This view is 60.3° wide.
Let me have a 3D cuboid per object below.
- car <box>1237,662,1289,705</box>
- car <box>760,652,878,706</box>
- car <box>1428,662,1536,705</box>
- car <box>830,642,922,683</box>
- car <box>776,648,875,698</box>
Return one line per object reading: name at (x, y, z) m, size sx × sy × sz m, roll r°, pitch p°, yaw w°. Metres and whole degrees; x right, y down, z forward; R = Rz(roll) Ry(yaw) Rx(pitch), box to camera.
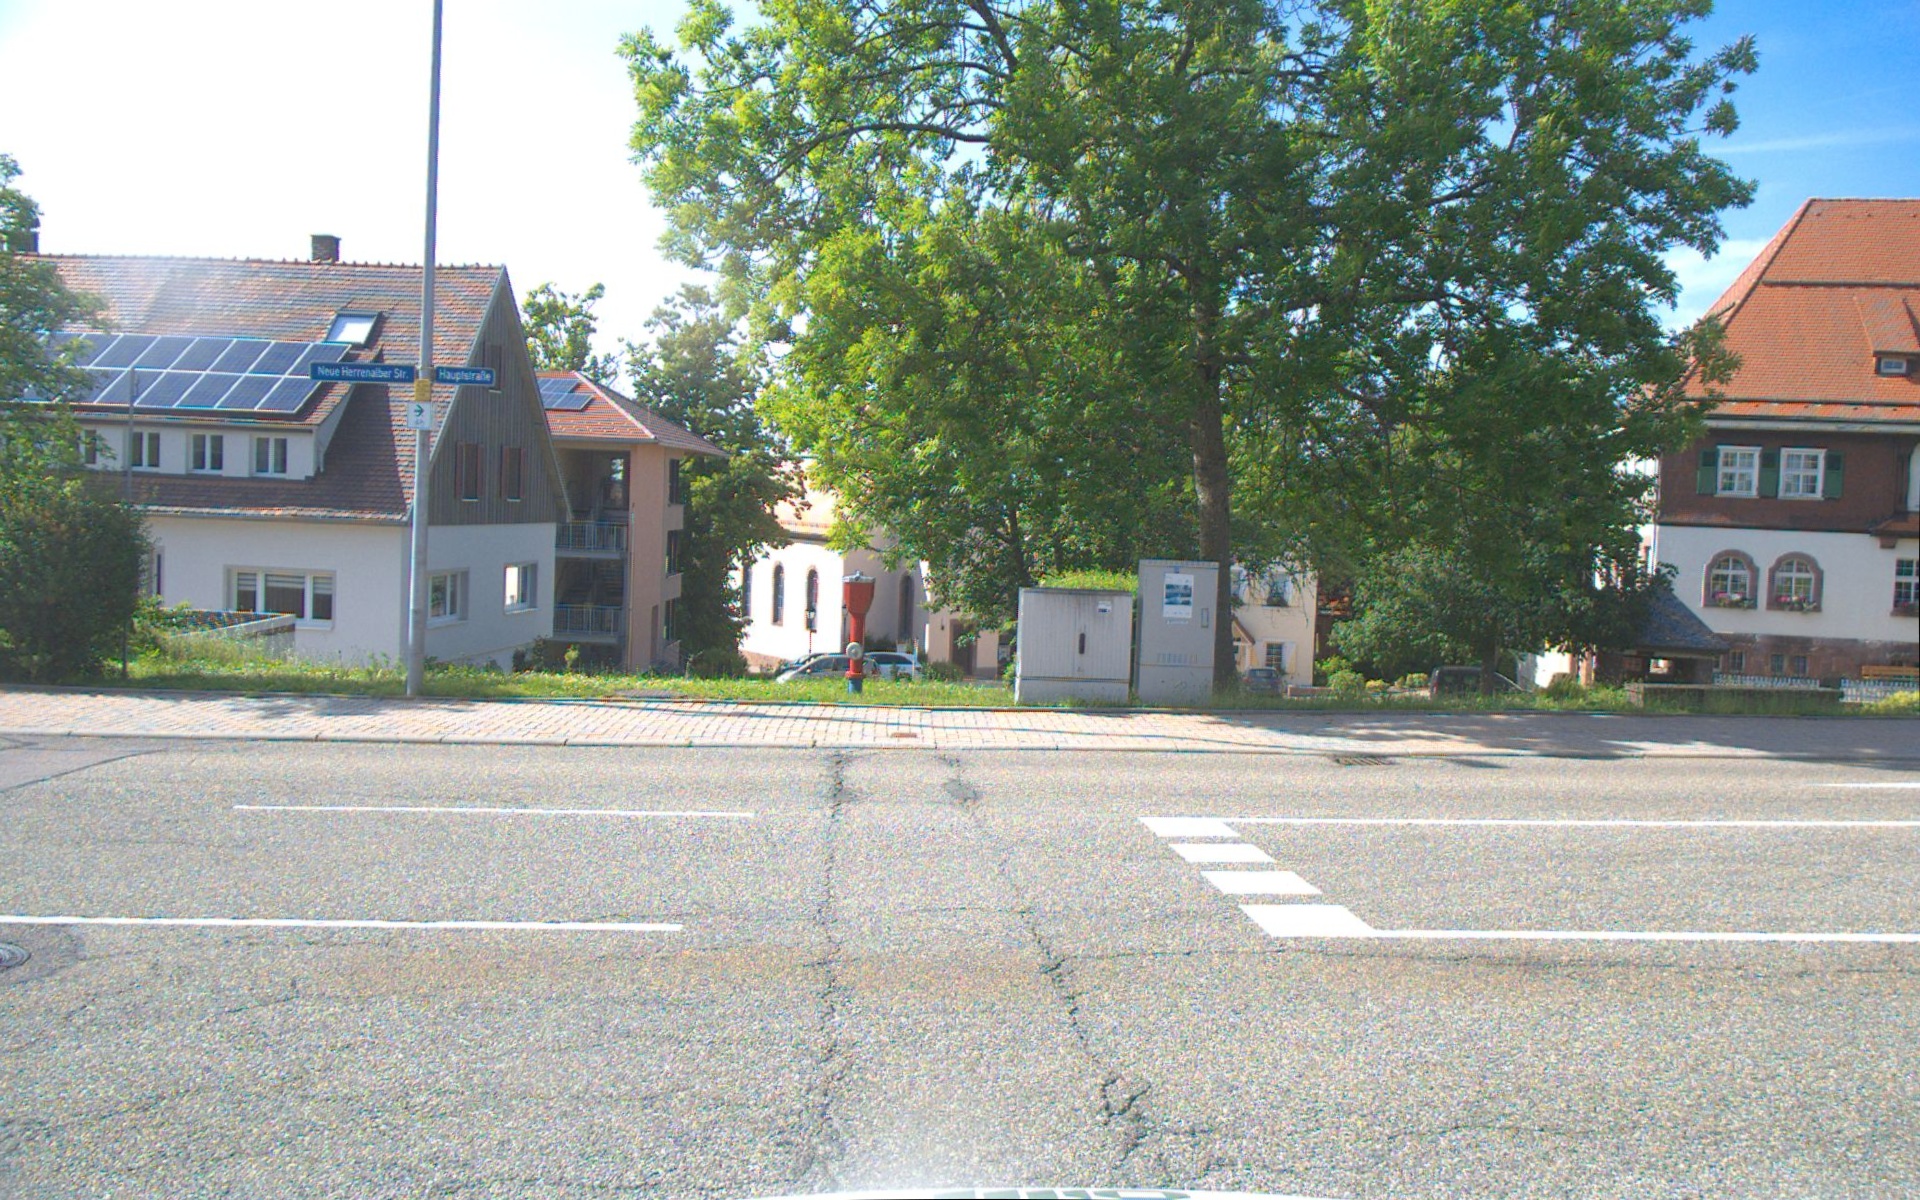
car at (12.435, 3.399, 68.040) m, size 1.672 × 1.569 × 3.787 m, roll 1°, pitch 0°, yaw 3°
car at (-4.908, 2.746, 57.527) m, size 4.011 × 1.789 × 1.711 m, roll 1°, pitch -1°, yaw -6°
car at (19.445, 3.114, 61.753) m, size 3.692 × 1.470 × 1.715 m, roll 1°, pitch -1°, yaw 11°
car at (-3.494, 2.588, 68.397) m, size 3.700 × 1.621 × 1.711 m, roll 1°, pitch -1°, yaw -7°
car at (-5.177, 2.790, 63.347) m, size 3.700 × 1.789 × 1.711 m, roll 1°, pitch -1°, yaw -7°
